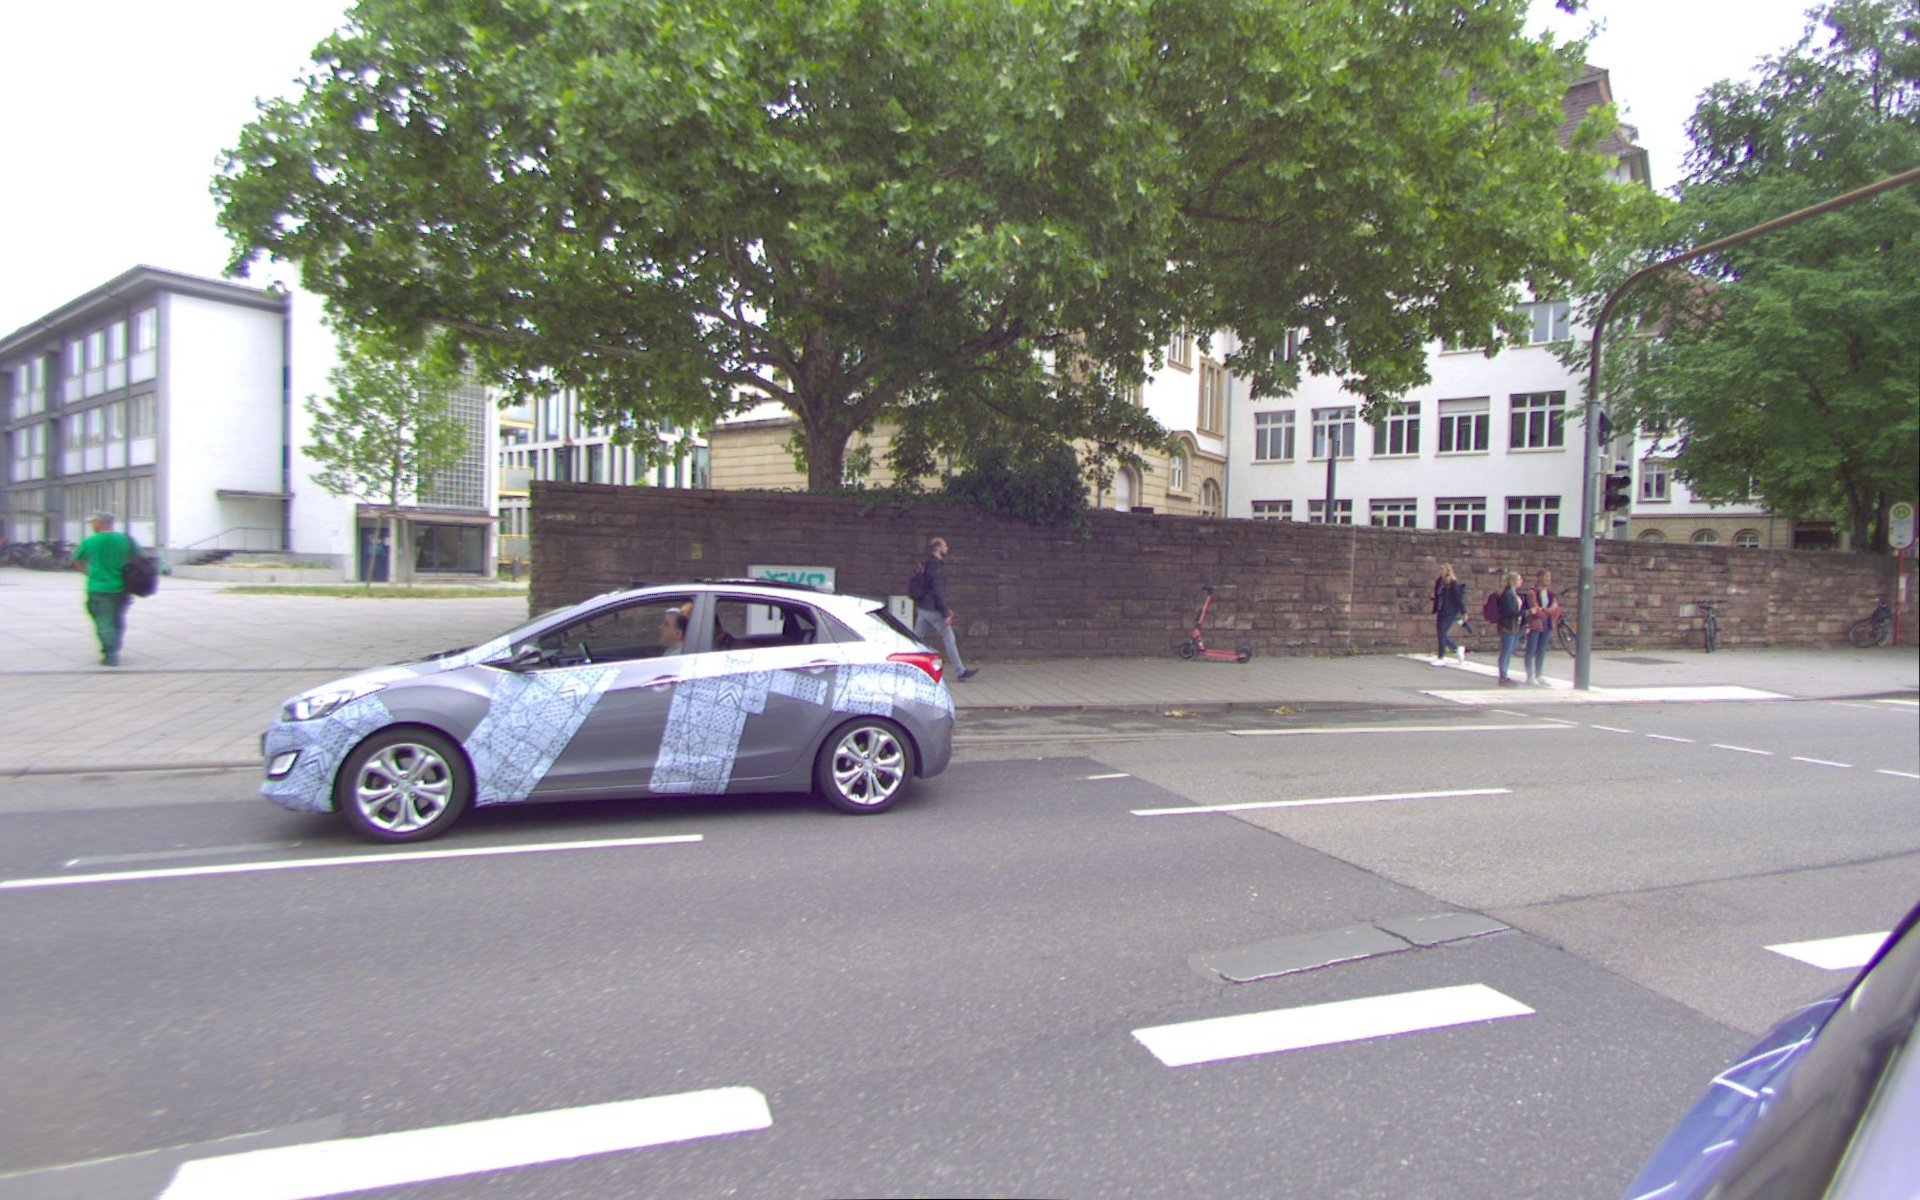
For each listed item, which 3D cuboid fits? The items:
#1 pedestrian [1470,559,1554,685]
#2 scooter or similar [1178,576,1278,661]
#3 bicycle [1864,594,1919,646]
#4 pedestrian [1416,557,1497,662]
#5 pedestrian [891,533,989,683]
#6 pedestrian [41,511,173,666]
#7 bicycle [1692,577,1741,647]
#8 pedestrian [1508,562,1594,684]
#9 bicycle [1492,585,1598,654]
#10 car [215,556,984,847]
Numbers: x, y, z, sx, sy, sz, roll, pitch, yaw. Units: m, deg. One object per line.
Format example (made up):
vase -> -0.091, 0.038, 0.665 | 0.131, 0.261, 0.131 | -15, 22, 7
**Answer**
pedestrian -> 8.064, 0.305, 14.805 | 0.656, 1.760, 0.737 | 1, 3, -22
scooter or similar -> 4.235, 0.280, 16.039 | 1.386, 1.245, 0.495 | 2, 4, 0
bicycle -> 22.699, 0.460, 24.393 | 2.113, 1.162, 0.666 | 0, 4, -30
pedestrian -> 8.290, 0.144, 16.926 | 0.792, 1.684, 0.793 | 1, 3, -19
pedestrian -> -0.262, 0.082, 12.762 | 0.985, 1.810, 0.760 | 1, 3, -20
pedestrian -> -10.049, -0.155, 11.969 | 0.931, 1.734, 0.909 | 1, 5, -23
bicycle -> 16.287, 0.246, 21.829 | 0.665, 1.398, 2.554 | 2, 1, 34
pedestrian -> 8.735, 0.322, 14.972 | 0.629, 1.713, 0.782 | 1, 3, -20
bicycle -> 10.787, 0.348, 18.650 | 2.112, 1.199, 0.584 | 1, 4, -28
car -> -2.129, 0.523, 6.754 | 4.138, 1.486, 2.004 | 0, 0, -18
